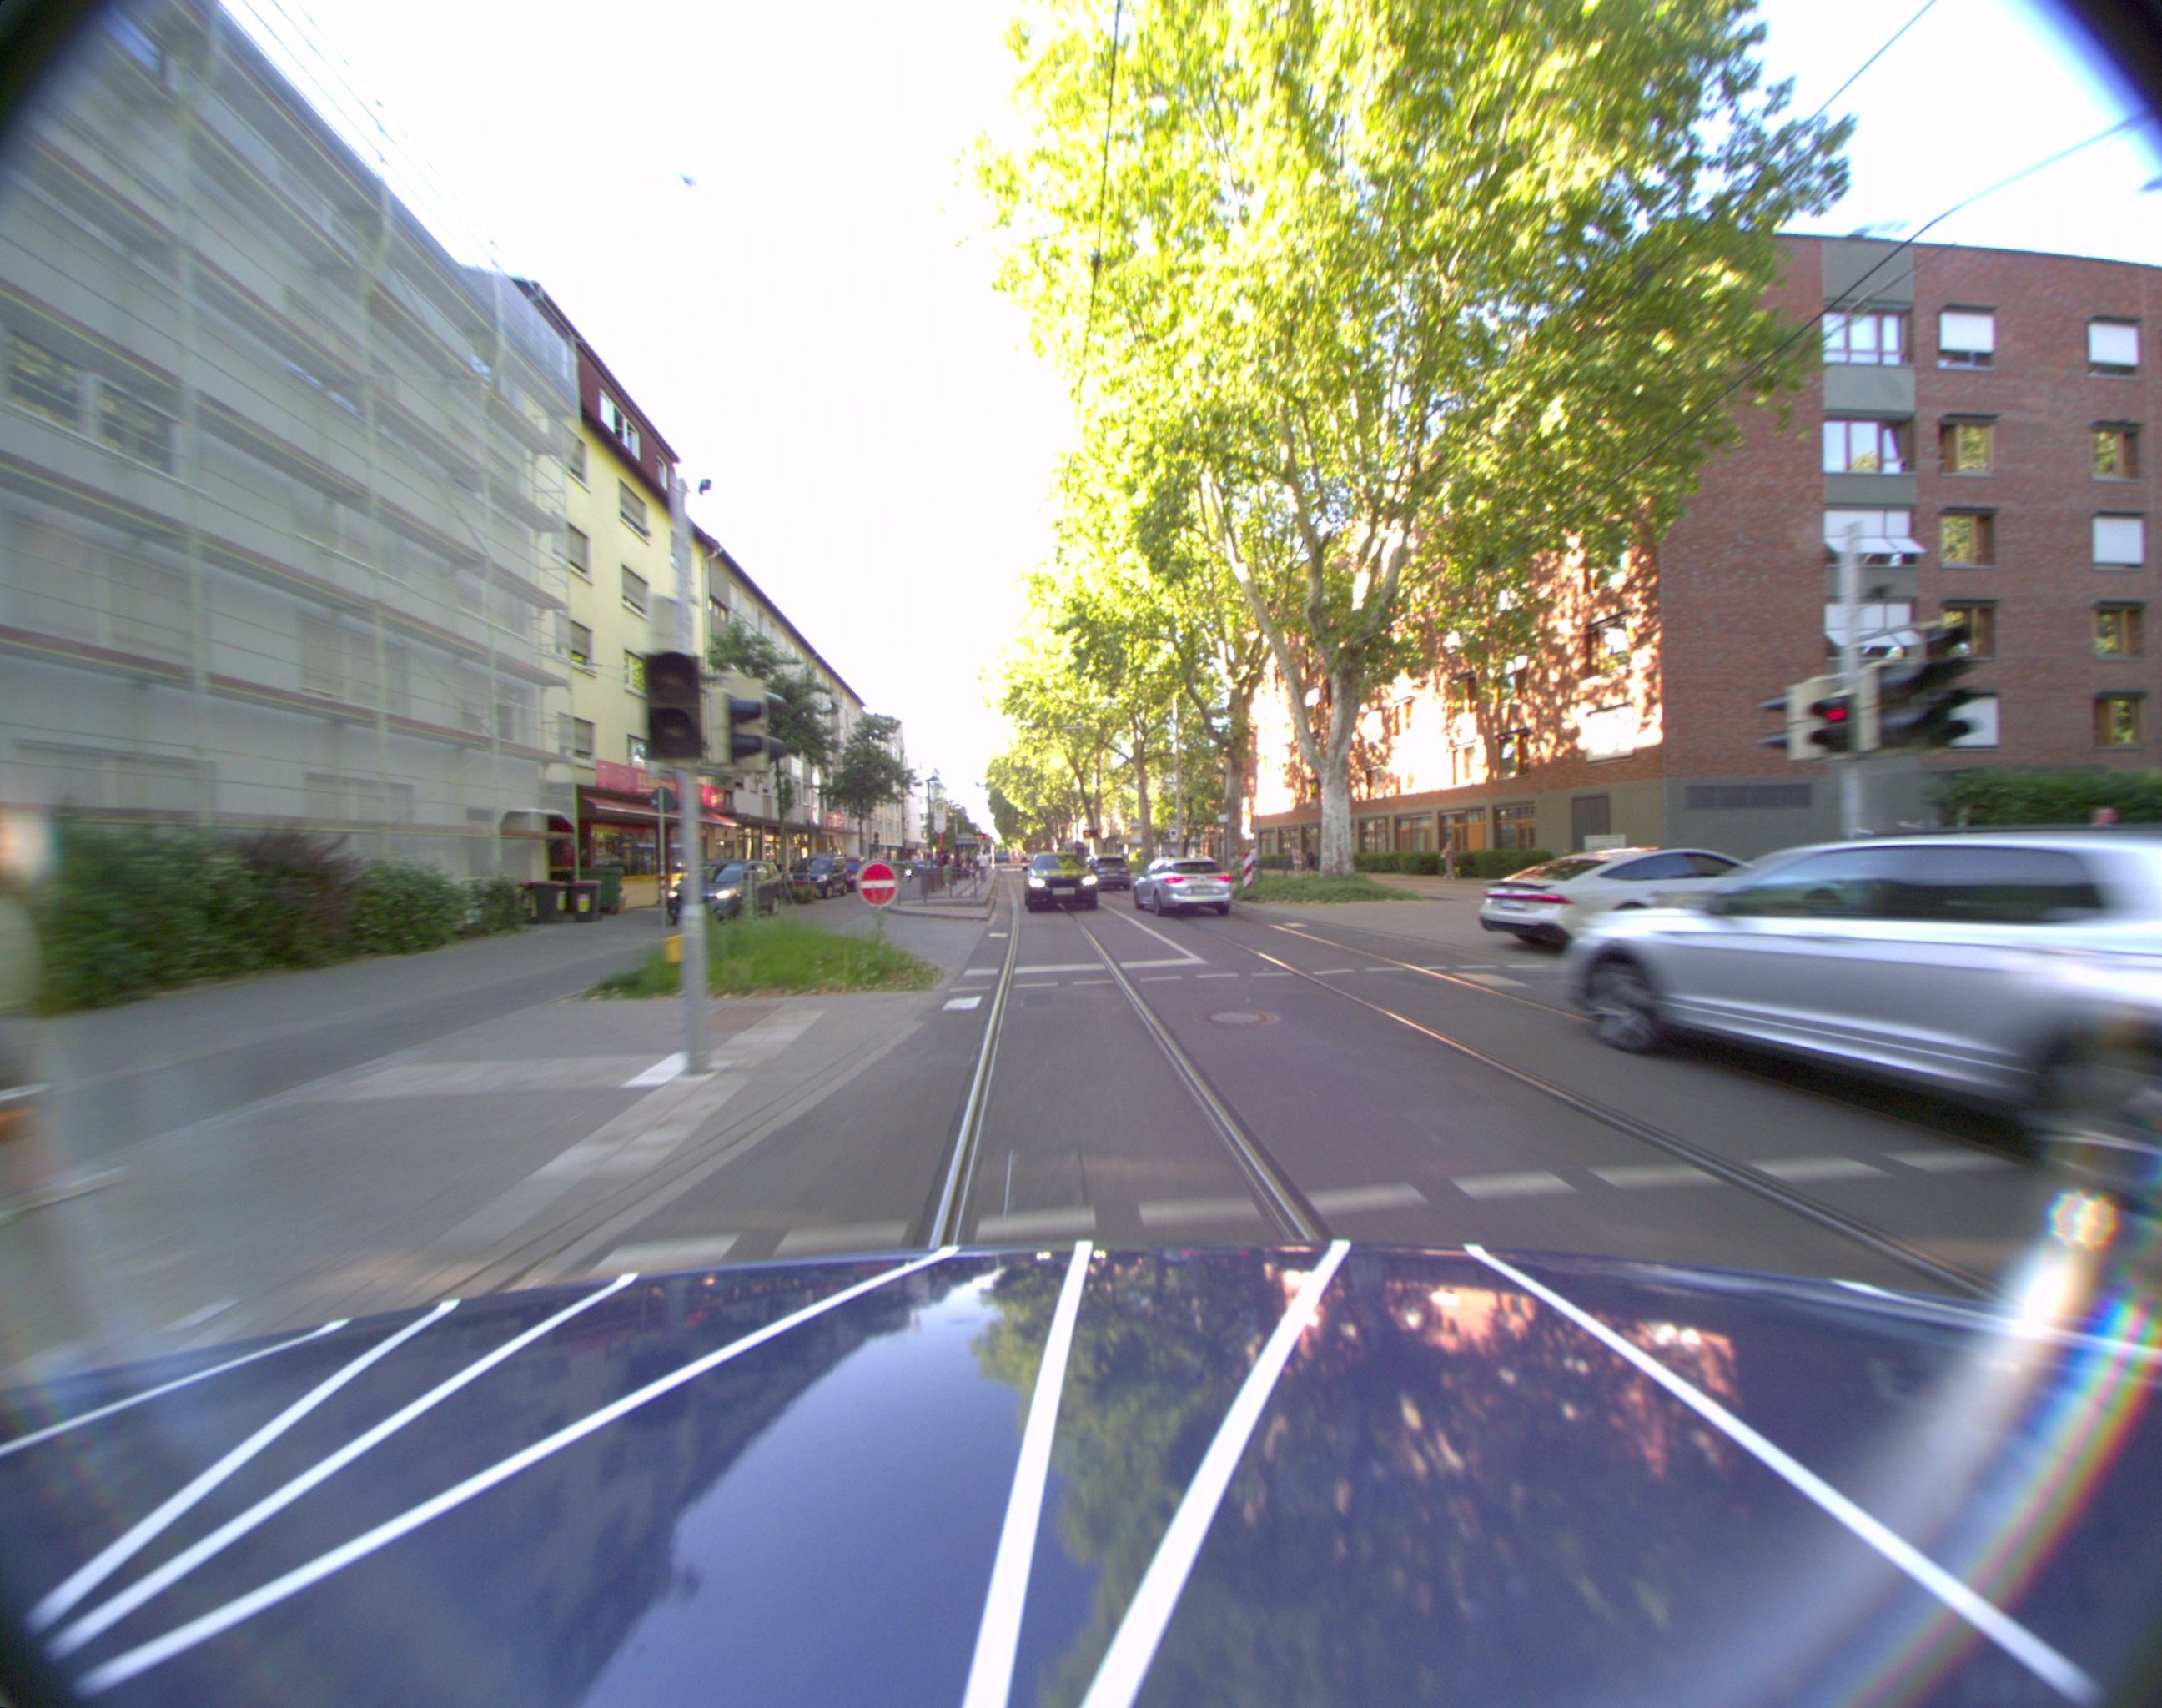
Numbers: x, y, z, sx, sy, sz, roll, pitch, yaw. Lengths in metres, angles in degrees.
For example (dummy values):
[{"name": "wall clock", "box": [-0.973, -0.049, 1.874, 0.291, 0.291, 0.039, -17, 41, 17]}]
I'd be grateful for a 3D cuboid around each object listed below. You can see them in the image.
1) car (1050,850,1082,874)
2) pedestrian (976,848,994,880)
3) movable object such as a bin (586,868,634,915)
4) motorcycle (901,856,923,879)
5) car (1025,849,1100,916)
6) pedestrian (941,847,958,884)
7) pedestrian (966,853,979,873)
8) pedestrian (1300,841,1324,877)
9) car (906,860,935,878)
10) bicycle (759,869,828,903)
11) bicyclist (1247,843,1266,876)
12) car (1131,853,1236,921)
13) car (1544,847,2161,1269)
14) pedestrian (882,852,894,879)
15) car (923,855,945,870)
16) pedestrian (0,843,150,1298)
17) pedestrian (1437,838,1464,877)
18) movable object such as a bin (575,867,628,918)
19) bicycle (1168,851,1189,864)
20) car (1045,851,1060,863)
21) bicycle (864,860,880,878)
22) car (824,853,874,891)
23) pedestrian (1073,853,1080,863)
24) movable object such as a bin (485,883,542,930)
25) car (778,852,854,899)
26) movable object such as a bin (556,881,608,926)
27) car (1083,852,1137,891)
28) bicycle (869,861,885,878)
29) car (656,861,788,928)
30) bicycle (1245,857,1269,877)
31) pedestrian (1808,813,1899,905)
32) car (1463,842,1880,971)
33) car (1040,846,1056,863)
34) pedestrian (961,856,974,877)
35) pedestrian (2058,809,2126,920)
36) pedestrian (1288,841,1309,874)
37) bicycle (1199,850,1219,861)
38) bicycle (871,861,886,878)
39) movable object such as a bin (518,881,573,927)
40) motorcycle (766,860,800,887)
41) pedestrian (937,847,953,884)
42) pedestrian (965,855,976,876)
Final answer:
[{"name": "car", "box": [-1.233, 0.618, 60.065, 1.999, 1.706, 5.139, -3, 1, -6]}, {"name": "pedestrian", "box": [-5.303, 0.538, 42.058, 0.836, 1.703, 0.639, -3, 1, -4]}, {"name": "movable object such as a bin", "box": [-14.033, 1.110, 22.660, 0.926, 1.342, 0.824, 0, 1, -8]}, {"name": "motorcycle", "box": [-11.250, 0.866, 50.650, 1.055, 1.446, 2.207, -3, 1, -5]}, {"name": "car", "box": [-0.688, 0.756, 23.207, 1.938, 1.719, 5.070, -3, 1, -4]}, {"name": "pedestrian", "box": [-6.306, 0.552, 36.331, 0.690, 1.745, 0.579, -3, 1, -12]}, {"name": "pedestrian", "box": [-8.691, 0.691, 60.833, 0.648, 1.567, 0.855, -2, 1, 12]}, {"name": "pedestrian", "box": [10.950, 0.226, 36.076, 0.740, 1.663, 0.968, -3, 1, -4]}, {"name": "car", "box": [-15.456, 1.454, 73.470, 1.959, 1.474, 4.658, -3, 1, -4]}, {"name": "bicycle", "box": [-10.789, 1.198, 28.549, 2.211, 1.203, 1.029, 0, 1, -6]}, {"name": "bicyclist", "box": [9.632, 0.309, 41.768, 0.702, 1.777, 0.838, -3, 1, -4]}, {"name": "car", "box": [2.540, 0.769, 19.885, 1.780, 1.452, 4.202, -3, 1, -5]}, {"name": "car", "box": [4.819, 0.751, 4.150, 1.821, 1.559, 4.114, -1, 1, -5]}, {"name": "pedestrian", "box": [-13.563, 0.793, 53.349, 0.680, 1.795, 0.772, -3, 2, -10]}, {"name": "car", "box": [-16.131, 0.958, 83.595, 1.900, 1.477, 3.997, -3, 1, -5]}, {"name": "pedestrian", "box": [-5.019, 0.912, 3.241, 0.871, 1.874, 0.996, -3, 1, -23]}, {"name": "pedestrian", "box": [15.207, 0.145, 31.273, 0.666, 1.564, 0.715, -3, 1, -6]}, {"name": "movable object such as a bin", "box": [-13.660, 1.086, 21.657, 1.002, 1.389, 0.824, 0, 1, -8]}, {"name": "bicycle", "box": [10.284, 0.370, 80.421, 2.099, 1.182, 0.881, -3, 1, 11]}, {"name": "car", "box": [-4.846, 0.503, 129.516, 2.042, 1.881, 5.069, -3, 1, -6]}, {"name": "bicycle", "box": [-14.482, 1.064, 52.707, 0.774, 1.173, 2.781, 3, -2, -10]}, {"name": "car", "box": [-11.982, 0.893, 39.471, 1.694, 1.745, 4.171, -3, 1, -7]}, {"name": "pedestrian", "box": [-0.538, 0.478, 87.992, 0.708, 1.197, 0.473, -3, 1, -4]}, {"name": "movable object such as a bin", "box": [-14.126, 1.303, 18.927, 0.883, 1.104, 0.696, 0, 1, -8]}, {"name": "car", "box": [-11.378, 0.860, 32.930, 1.999, 1.885, 4.192, -1, 0, -4]}, {"name": "movable object such as a bin", "box": [-12.848, 1.262, 19.569, 0.883, 1.104, 0.696, 0, 1, -8]}, {"name": "car", "box": [1.231, 0.745, 34.550, 1.914, 1.628, 4.318, -1, 1, -5]}, {"name": "bicycle", "box": [-14.535, 1.115, 54.281, 0.774, 1.173, 2.781, 3, -2, -10]}, {"name": "car", "box": [-9.589, 1.007, 20.725, 1.767, 1.612, 4.440, 0, 0, -4]}, {"name": "bicycle", "box": [9.652, 0.708, 41.734, 0.717, 1.057, 1.838, -3, 1, -4]}, {"name": "pedestrian", "box": [15.288, 0.099, 15.060, 0.846, 1.727, 0.915, -3, 1, -10]}, {"name": "car", "box": [8.419, 0.667, 11.060, 4.779, 1.452, 1.953, -3, 1, -7]}, {"name": "car", "box": [-6.128, 0.047, 139.608, 2.430, 2.833, 5.069, -3, 1, -6]}, {"name": "pedestrian", "box": [-7.312, 0.801, 48.902, 0.721, 1.318, 0.492, -3, 1, -16]}, {"name": "pedestrian", "box": [15.767, 0.153, 11.850, 0.697, 1.650, 0.561, -3, 1, -32]}, {"name": "pedestrian", "box": [11.893, 0.179, 41.586, 0.766, 1.734, 0.971, -3, 1, -6]}, {"name": "bicycle", "box": [13.578, 0.153, 80.566, 0.823, 1.088, 2.033, -4, 1, -43]}, {"name": "bicycle", "box": [-14.970, 1.131, 56.339, 0.774, 1.173, 2.781, 3, -2, -10]}, {"name": "movable object such as a bin", "box": [-13.393, 1.245, 19.020, 0.883, 1.104, 0.696, 0, 1, -8]}, {"name": "motorcycle", "box": [-15.257, 0.986, 38.998, 0.955, 1.309, 2.649, 3, -2, -7]}, {"name": "pedestrian", "box": [-6.624, 0.558, 37.040, 0.493, 1.760, 0.704, -3, 1, 9]}, {"name": "pedestrian", "box": [-7.195, 0.737, 49.353, 0.586, 1.298, 0.526, -3, 1, -16]}]
